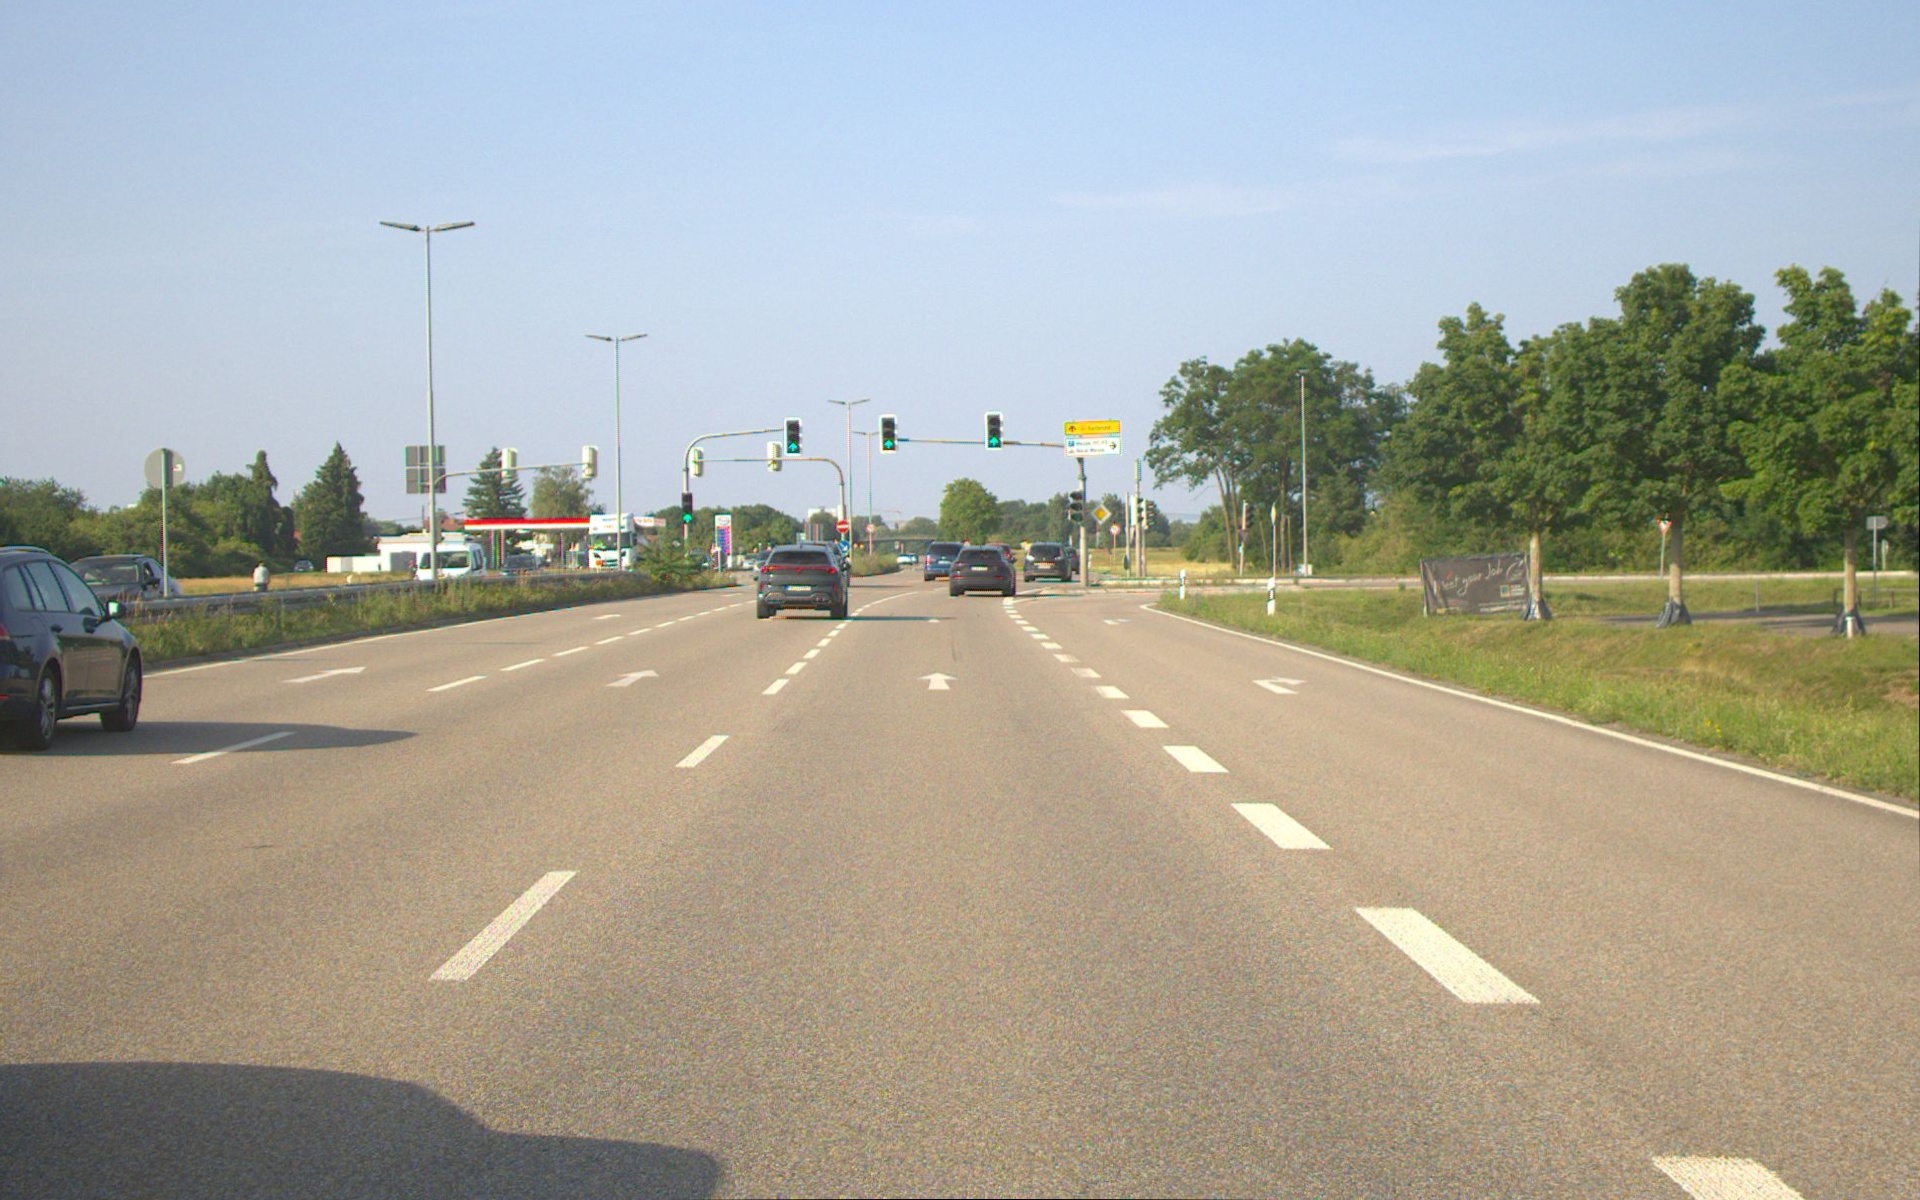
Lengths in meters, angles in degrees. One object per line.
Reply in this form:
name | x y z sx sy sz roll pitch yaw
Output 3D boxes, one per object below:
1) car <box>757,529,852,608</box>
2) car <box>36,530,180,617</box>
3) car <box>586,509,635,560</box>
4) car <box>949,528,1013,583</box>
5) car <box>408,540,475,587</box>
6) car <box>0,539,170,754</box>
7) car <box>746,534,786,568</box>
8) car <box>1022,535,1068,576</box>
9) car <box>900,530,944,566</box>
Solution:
car | -3.350 -0.706 74.797 1.845 1.606 4.401 2 1 0
car | -14.757 -0.458 59.700 1.610 1.436 3.620 1 0 -1
car | -19.745 -3.701 194.152 2.271 2.843 5.249 0 1 -1
car | 0.659 -1.439 110.635 1.932 1.674 4.401 2 1 0
car | -15.484 -1.106 102.800 1.521 1.358 3.444 0 1 -1
car | -7.355 0.284 26.064 1.646 1.466 4.777 0 1 0
car | -9.008 -2.296 159.740 1.600 1.527 4.000 2 1 0
car | 3.515 -1.853 143.296 1.749 1.612 3.758 2 1 0
car | -1.598 -2.200 145.510 1.812 1.458 4.401 2 1 0
